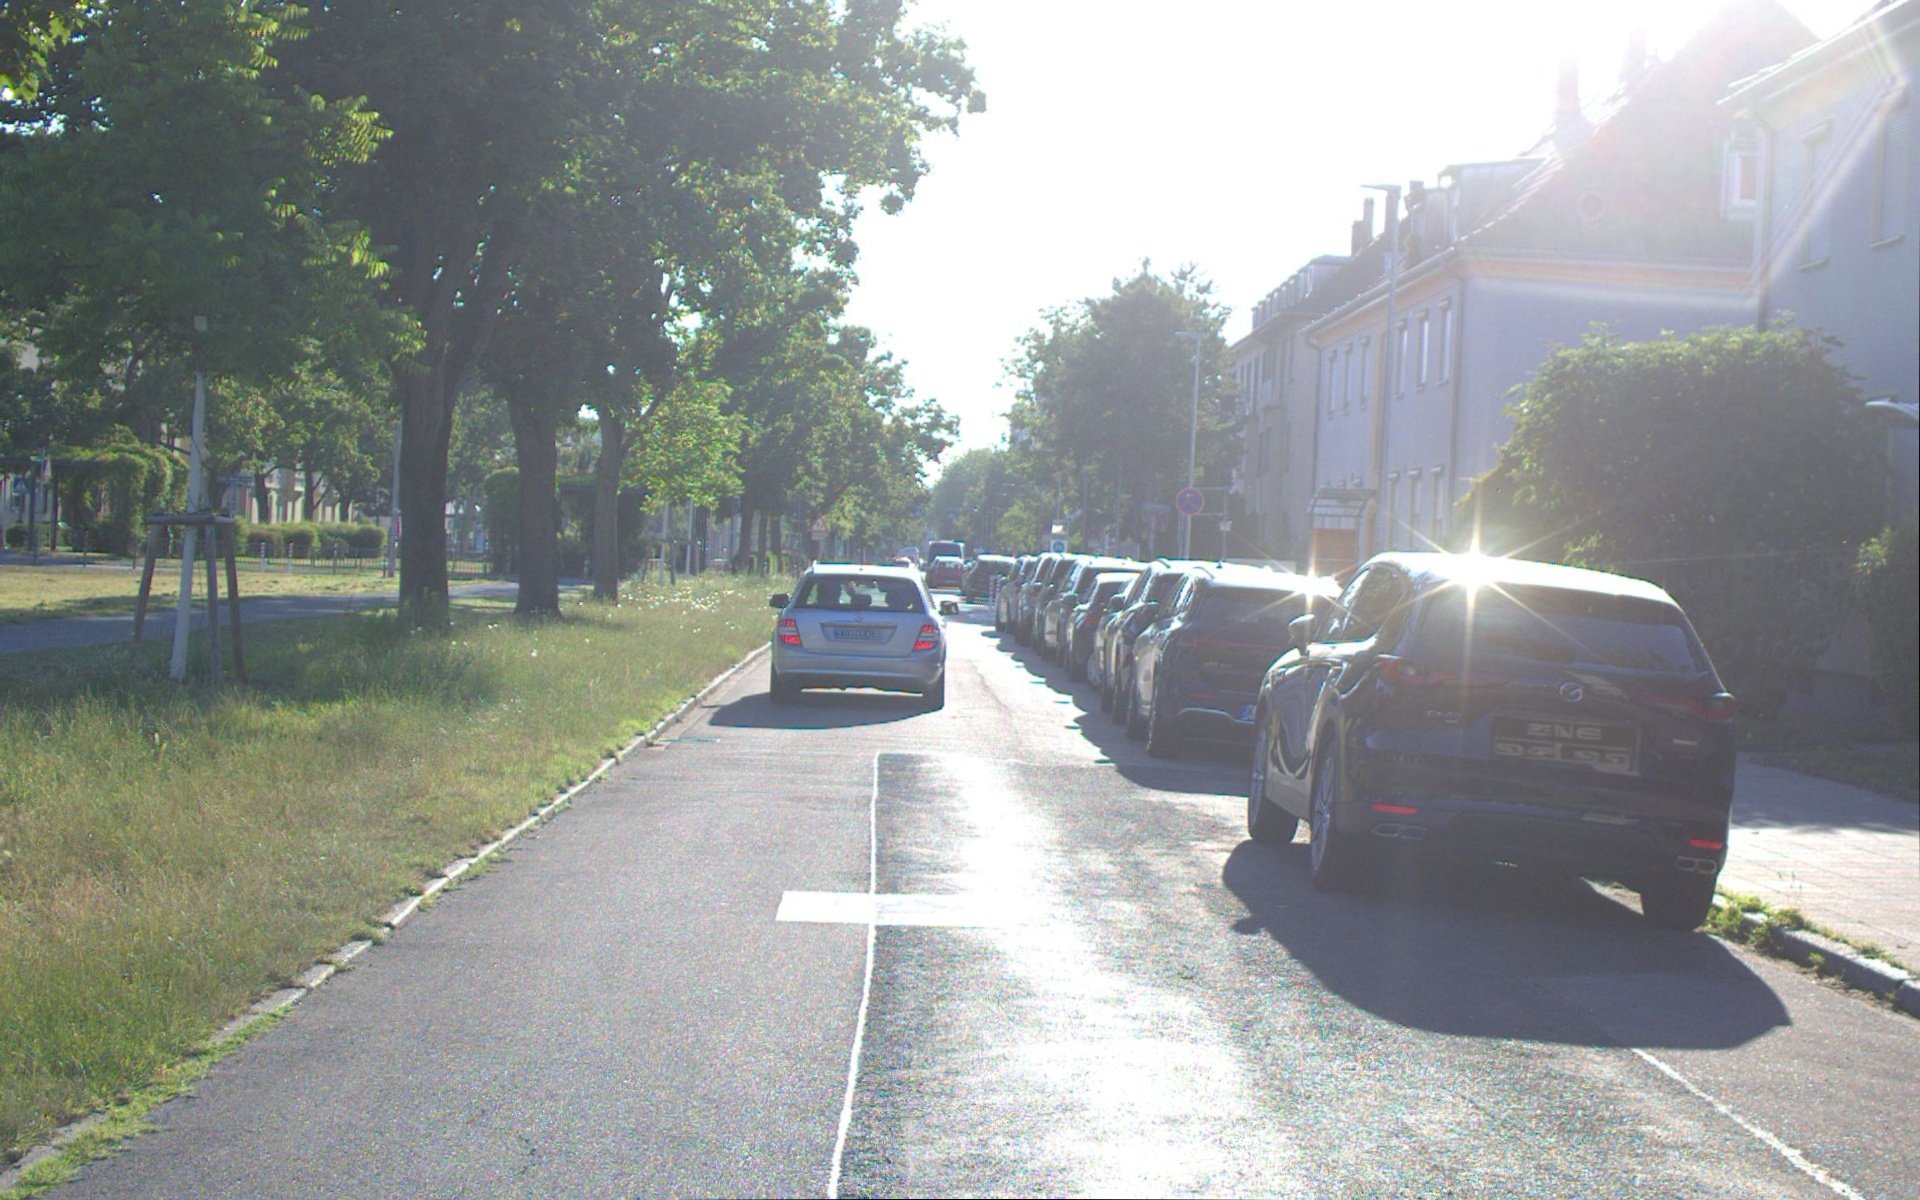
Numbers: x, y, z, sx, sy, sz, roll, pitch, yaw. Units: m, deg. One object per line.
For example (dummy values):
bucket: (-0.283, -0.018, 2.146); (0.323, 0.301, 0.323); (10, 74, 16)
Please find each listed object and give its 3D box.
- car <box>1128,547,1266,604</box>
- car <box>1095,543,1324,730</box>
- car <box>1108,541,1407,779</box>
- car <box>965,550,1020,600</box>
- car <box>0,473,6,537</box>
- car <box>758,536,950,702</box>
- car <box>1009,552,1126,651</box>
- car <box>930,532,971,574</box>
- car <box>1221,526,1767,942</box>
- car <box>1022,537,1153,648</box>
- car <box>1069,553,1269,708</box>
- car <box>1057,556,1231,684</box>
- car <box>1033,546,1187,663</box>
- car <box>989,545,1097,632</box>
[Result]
car: (6.936, -0.710, 100.361); (3.894, 1.591, 1.999); (-1, 0, 7)
car: (2.470, 0.313, 35.203); (1.854, 1.651, 4.820); (4, 1, 0)
car: (2.469, 0.436, 29.678); (1.933, 1.714, 4.622); (5, 1, -1)
car: (1.076, -0.841, 116.094); (1.721, 1.591, 4.000); (2, 0, 0)
car: (-44.221, -4.207, 146.903); (6.294, 2.711, 2.003); (2, 1, -31)
car: (-1.044, 0.145, 35.492); (1.823, 1.561, 4.000); (2, 1, 0)
car: (1.896, 0.008, 61.812); (1.777, 1.637, 4.757); (2, 0, -1)
car: (-0.489, -2.367, 174.297); (1.988, 2.016, 4.000); (3, 1, 0)
car: (2.597, 0.593, 18.000); (1.832, 1.726, 5.032); (5, 0, -1)
car: (2.048, -0.128, 56.574); (1.766, 1.629, 4.765); (4, 0, -1)
car: (2.412, 0.331, 40.647); (1.728, 1.543, 4.208); (7, 0, -3)
car: (2.374, 0.223, 45.512); (1.993, 1.457, 4.561); (4, 1, 0)
car: (2.165, 0.028, 50.767); (1.724, 1.556, 4.417); (3, 1, -4)
car: (1.707, -0.271, 72.149); (1.716, 1.633, 4.565); (5, 1, -4)
